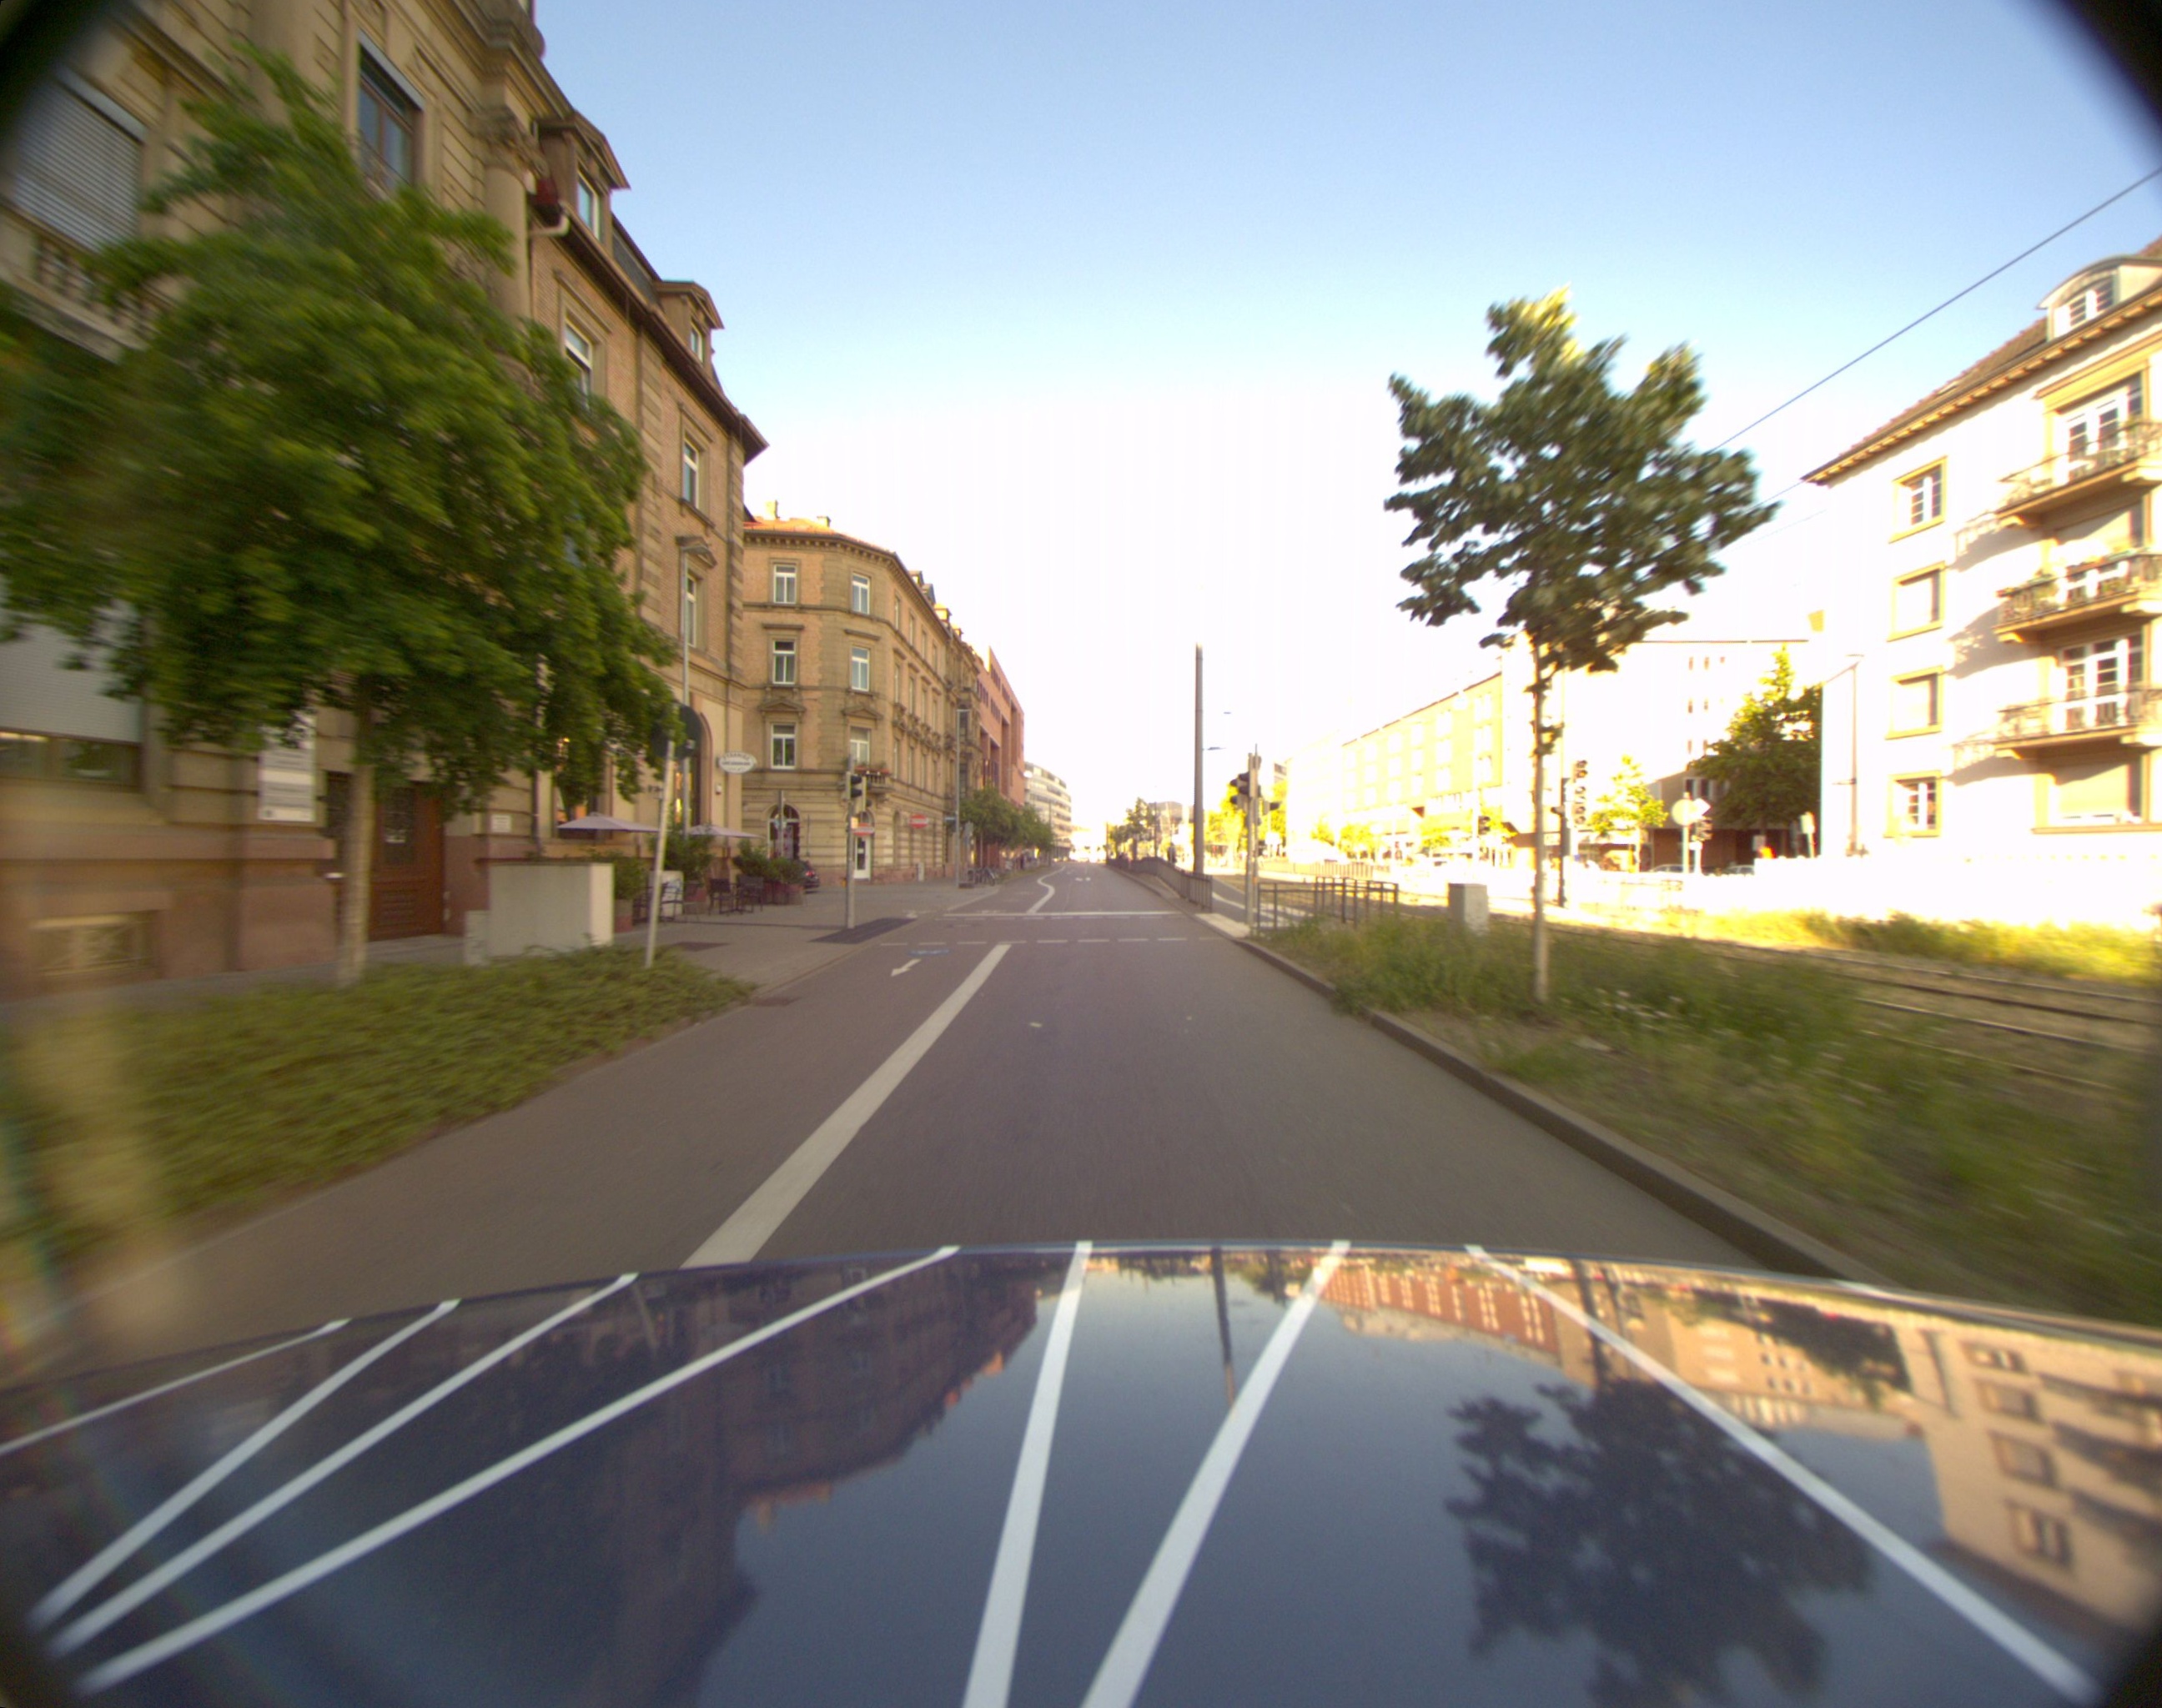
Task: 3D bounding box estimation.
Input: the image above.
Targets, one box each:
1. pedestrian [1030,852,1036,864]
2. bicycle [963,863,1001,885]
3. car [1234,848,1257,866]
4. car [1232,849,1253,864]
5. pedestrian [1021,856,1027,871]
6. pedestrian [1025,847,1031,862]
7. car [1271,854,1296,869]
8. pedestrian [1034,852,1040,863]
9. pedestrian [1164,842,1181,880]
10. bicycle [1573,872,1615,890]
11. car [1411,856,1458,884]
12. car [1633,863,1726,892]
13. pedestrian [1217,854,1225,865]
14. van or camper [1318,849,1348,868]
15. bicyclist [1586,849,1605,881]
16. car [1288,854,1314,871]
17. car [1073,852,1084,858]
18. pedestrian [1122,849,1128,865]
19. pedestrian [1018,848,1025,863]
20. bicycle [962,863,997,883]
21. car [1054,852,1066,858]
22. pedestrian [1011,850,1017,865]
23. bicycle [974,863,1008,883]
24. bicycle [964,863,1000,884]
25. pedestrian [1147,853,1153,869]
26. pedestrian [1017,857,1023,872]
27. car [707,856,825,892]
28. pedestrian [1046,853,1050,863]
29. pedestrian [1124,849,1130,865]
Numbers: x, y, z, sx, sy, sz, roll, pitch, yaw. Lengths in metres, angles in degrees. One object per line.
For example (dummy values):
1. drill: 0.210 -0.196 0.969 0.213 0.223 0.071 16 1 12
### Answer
1. pedestrian: -6.730 0.613 106.979 0.640 1.703 0.573 1 1 9
2. bicycle: -5.133 1.024 39.467 1.831 1.058 0.663 3 -1 -4
3. car: 22.307 0.353 103.008 2.051 2.344 4.920 1 0 0
4. car: 25.869 0.425 121.673 2.084 2.276 5.264 1 0 -1
5. pedestrian: -6.497 1.073 87.181 0.539 1.746 0.464 0 1 -22
6. pedestrian: -6.234 0.075 88.759 0.537 1.746 0.696 1 1 10
7. car: 24.991 0.939 93.944 1.891 1.855 4.316 1 -1 0
8. pedestrian: -6.219 0.457 107.616 0.703 1.596 0.519 1 1 25
9. pedestrian: 3.980 0.292 32.976 0.656 1.633 0.867 0 2 1
10. bicycle: 27.122 1.419 40.176 1.741 0.942 0.685 1 0 -3
11. car: 26.595 1.208 57.304 1.997 2.001 4.150 1 -1 7
12. car: 33.967 1.289 43.301 1.842 1.575 4.155 1 -1 -4
13. pedestrian: 15.724 0.636 85.336 0.674 1.183 0.906 1 1 1
14. van or camper: 30.204 0.601 91.290 1.998 2.156 5.618 0 -2 3
15. bicyclist: 27.200 0.565 40.161 0.487 1.670 0.666 0 1 -3
16. car: 24.944 0.942 86.343 1.890 1.855 4.317 1 -1 3
17. car: -0.655 0.279 196.993 1.901 1.611 3.871 0 -1 16
18. pedestrian: 4.592 0.331 79.203 0.506 1.669 0.651 0 1 0
19. pedestrian: -7.069 0.166 90.294 0.735 1.746 0.695 0 1 -7
20. bicycle: -5.634 1.057 42.335 1.831 1.058 0.663 3 -1 -4
21. car: -5.464 0.271 198.654 1.901 1.611 4.177 0 -1 16
22. pedestrian: -7.653 0.403 86.855 0.539 1.746 0.421 0 1 -29
23. bicycle: -5.153 1.080 43.699 1.831 1.058 0.663 3 -1 -4
24. bicycle: -5.330 1.042 40.944 1.831 1.058 0.663 3 -1 -4
25. pedestrian: 5.686 0.581 62.700 0.430 1.377 0.407 0 1 -11
26. pedestrian: -7.074 1.226 88.193 0.537 1.746 0.696 1 1 11
27. car: -12.718 0.827 30.879 4.155 1.379 1.617 1 -2 -10
28. pedestrian: -5.369 0.679 123.449 0.624 1.692 0.749 0 1 -7
29. pedestrian: 4.924 0.296 81.264 0.506 1.722 0.651 0 1 0
